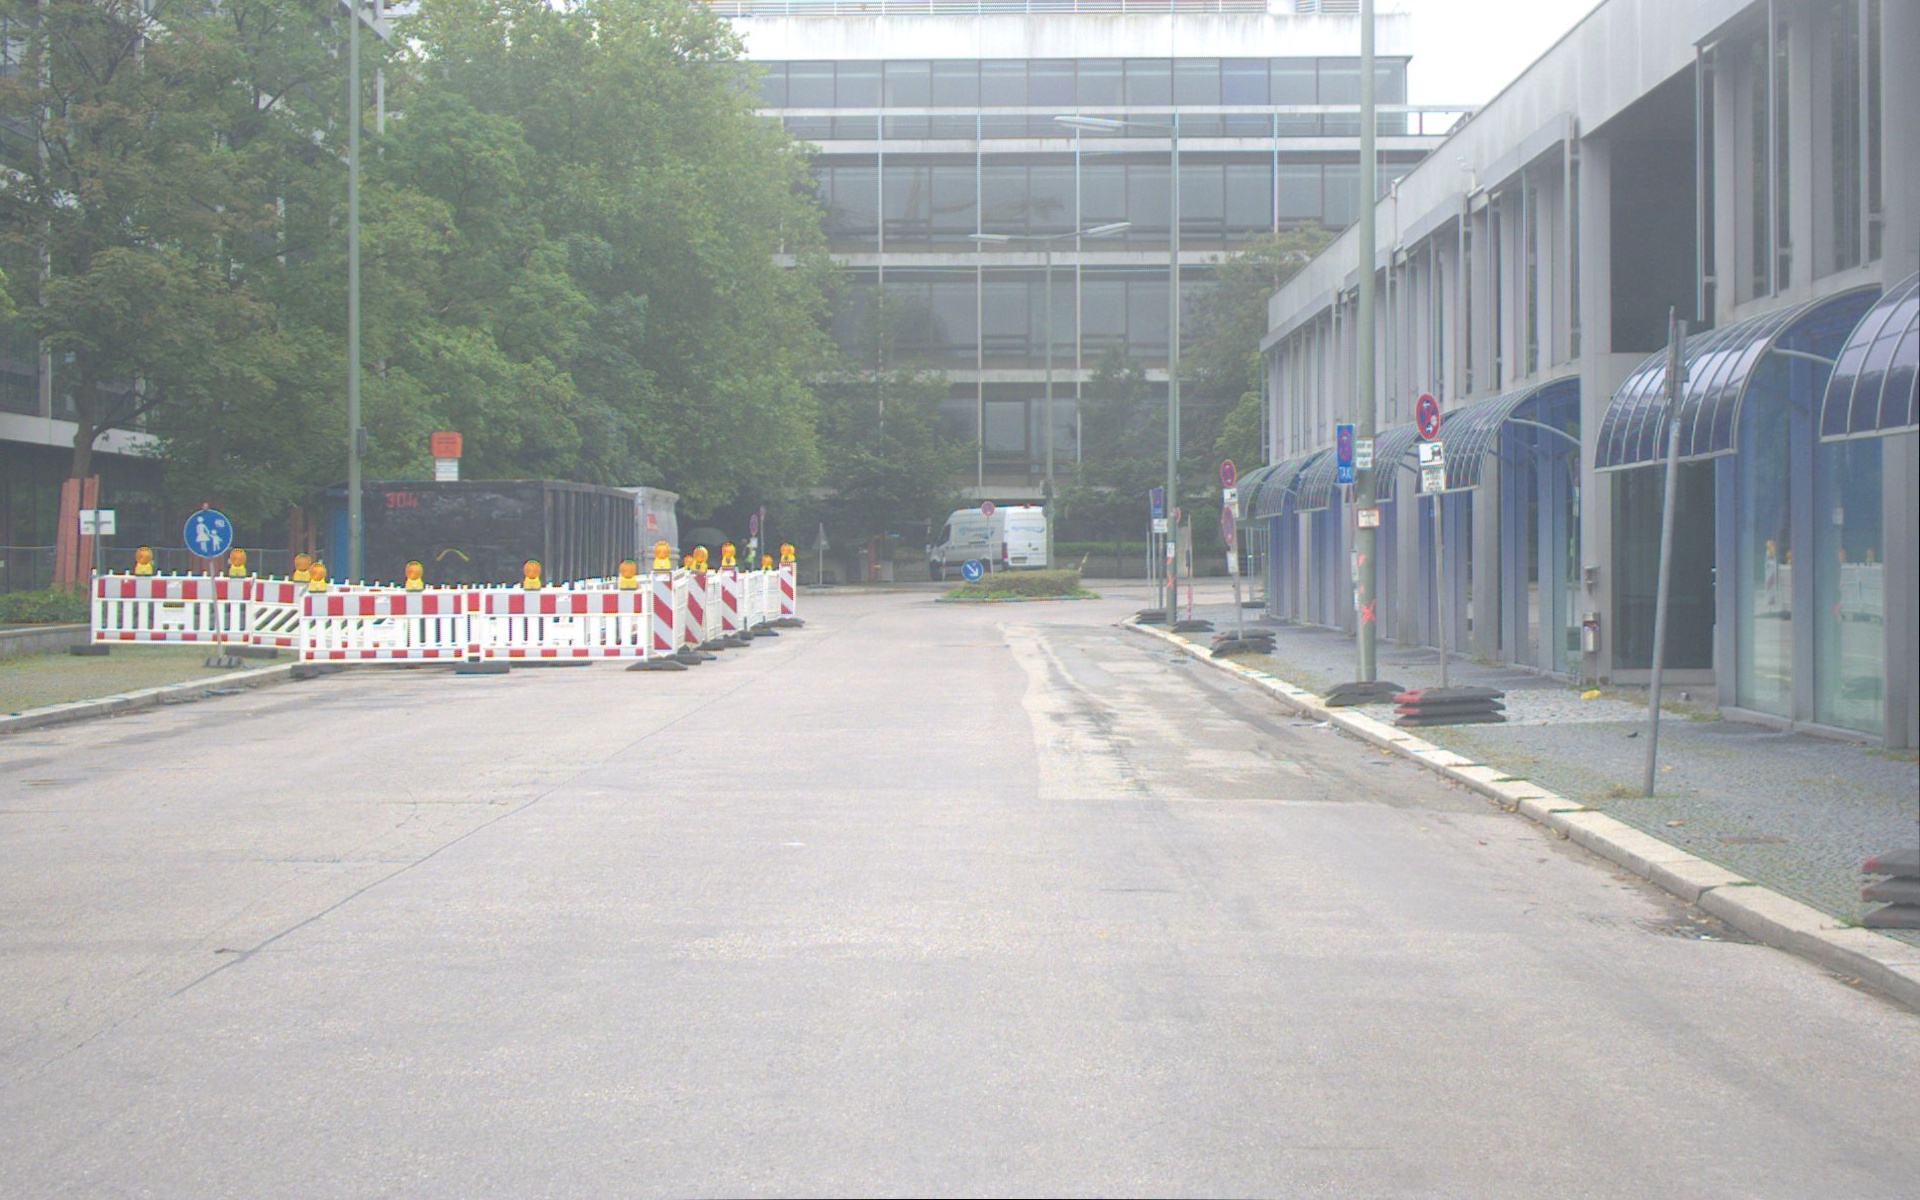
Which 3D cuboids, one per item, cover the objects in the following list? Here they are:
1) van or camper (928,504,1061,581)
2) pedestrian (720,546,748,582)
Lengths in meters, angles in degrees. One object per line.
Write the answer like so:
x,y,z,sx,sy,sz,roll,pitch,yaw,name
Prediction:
1.181,-2.015,122.527,2.155,2.572,6.540,0,-1,-25,van or camper
-7.928,-1.263,120.520,0.926,1.273,0.542,1,1,3,pedestrian
